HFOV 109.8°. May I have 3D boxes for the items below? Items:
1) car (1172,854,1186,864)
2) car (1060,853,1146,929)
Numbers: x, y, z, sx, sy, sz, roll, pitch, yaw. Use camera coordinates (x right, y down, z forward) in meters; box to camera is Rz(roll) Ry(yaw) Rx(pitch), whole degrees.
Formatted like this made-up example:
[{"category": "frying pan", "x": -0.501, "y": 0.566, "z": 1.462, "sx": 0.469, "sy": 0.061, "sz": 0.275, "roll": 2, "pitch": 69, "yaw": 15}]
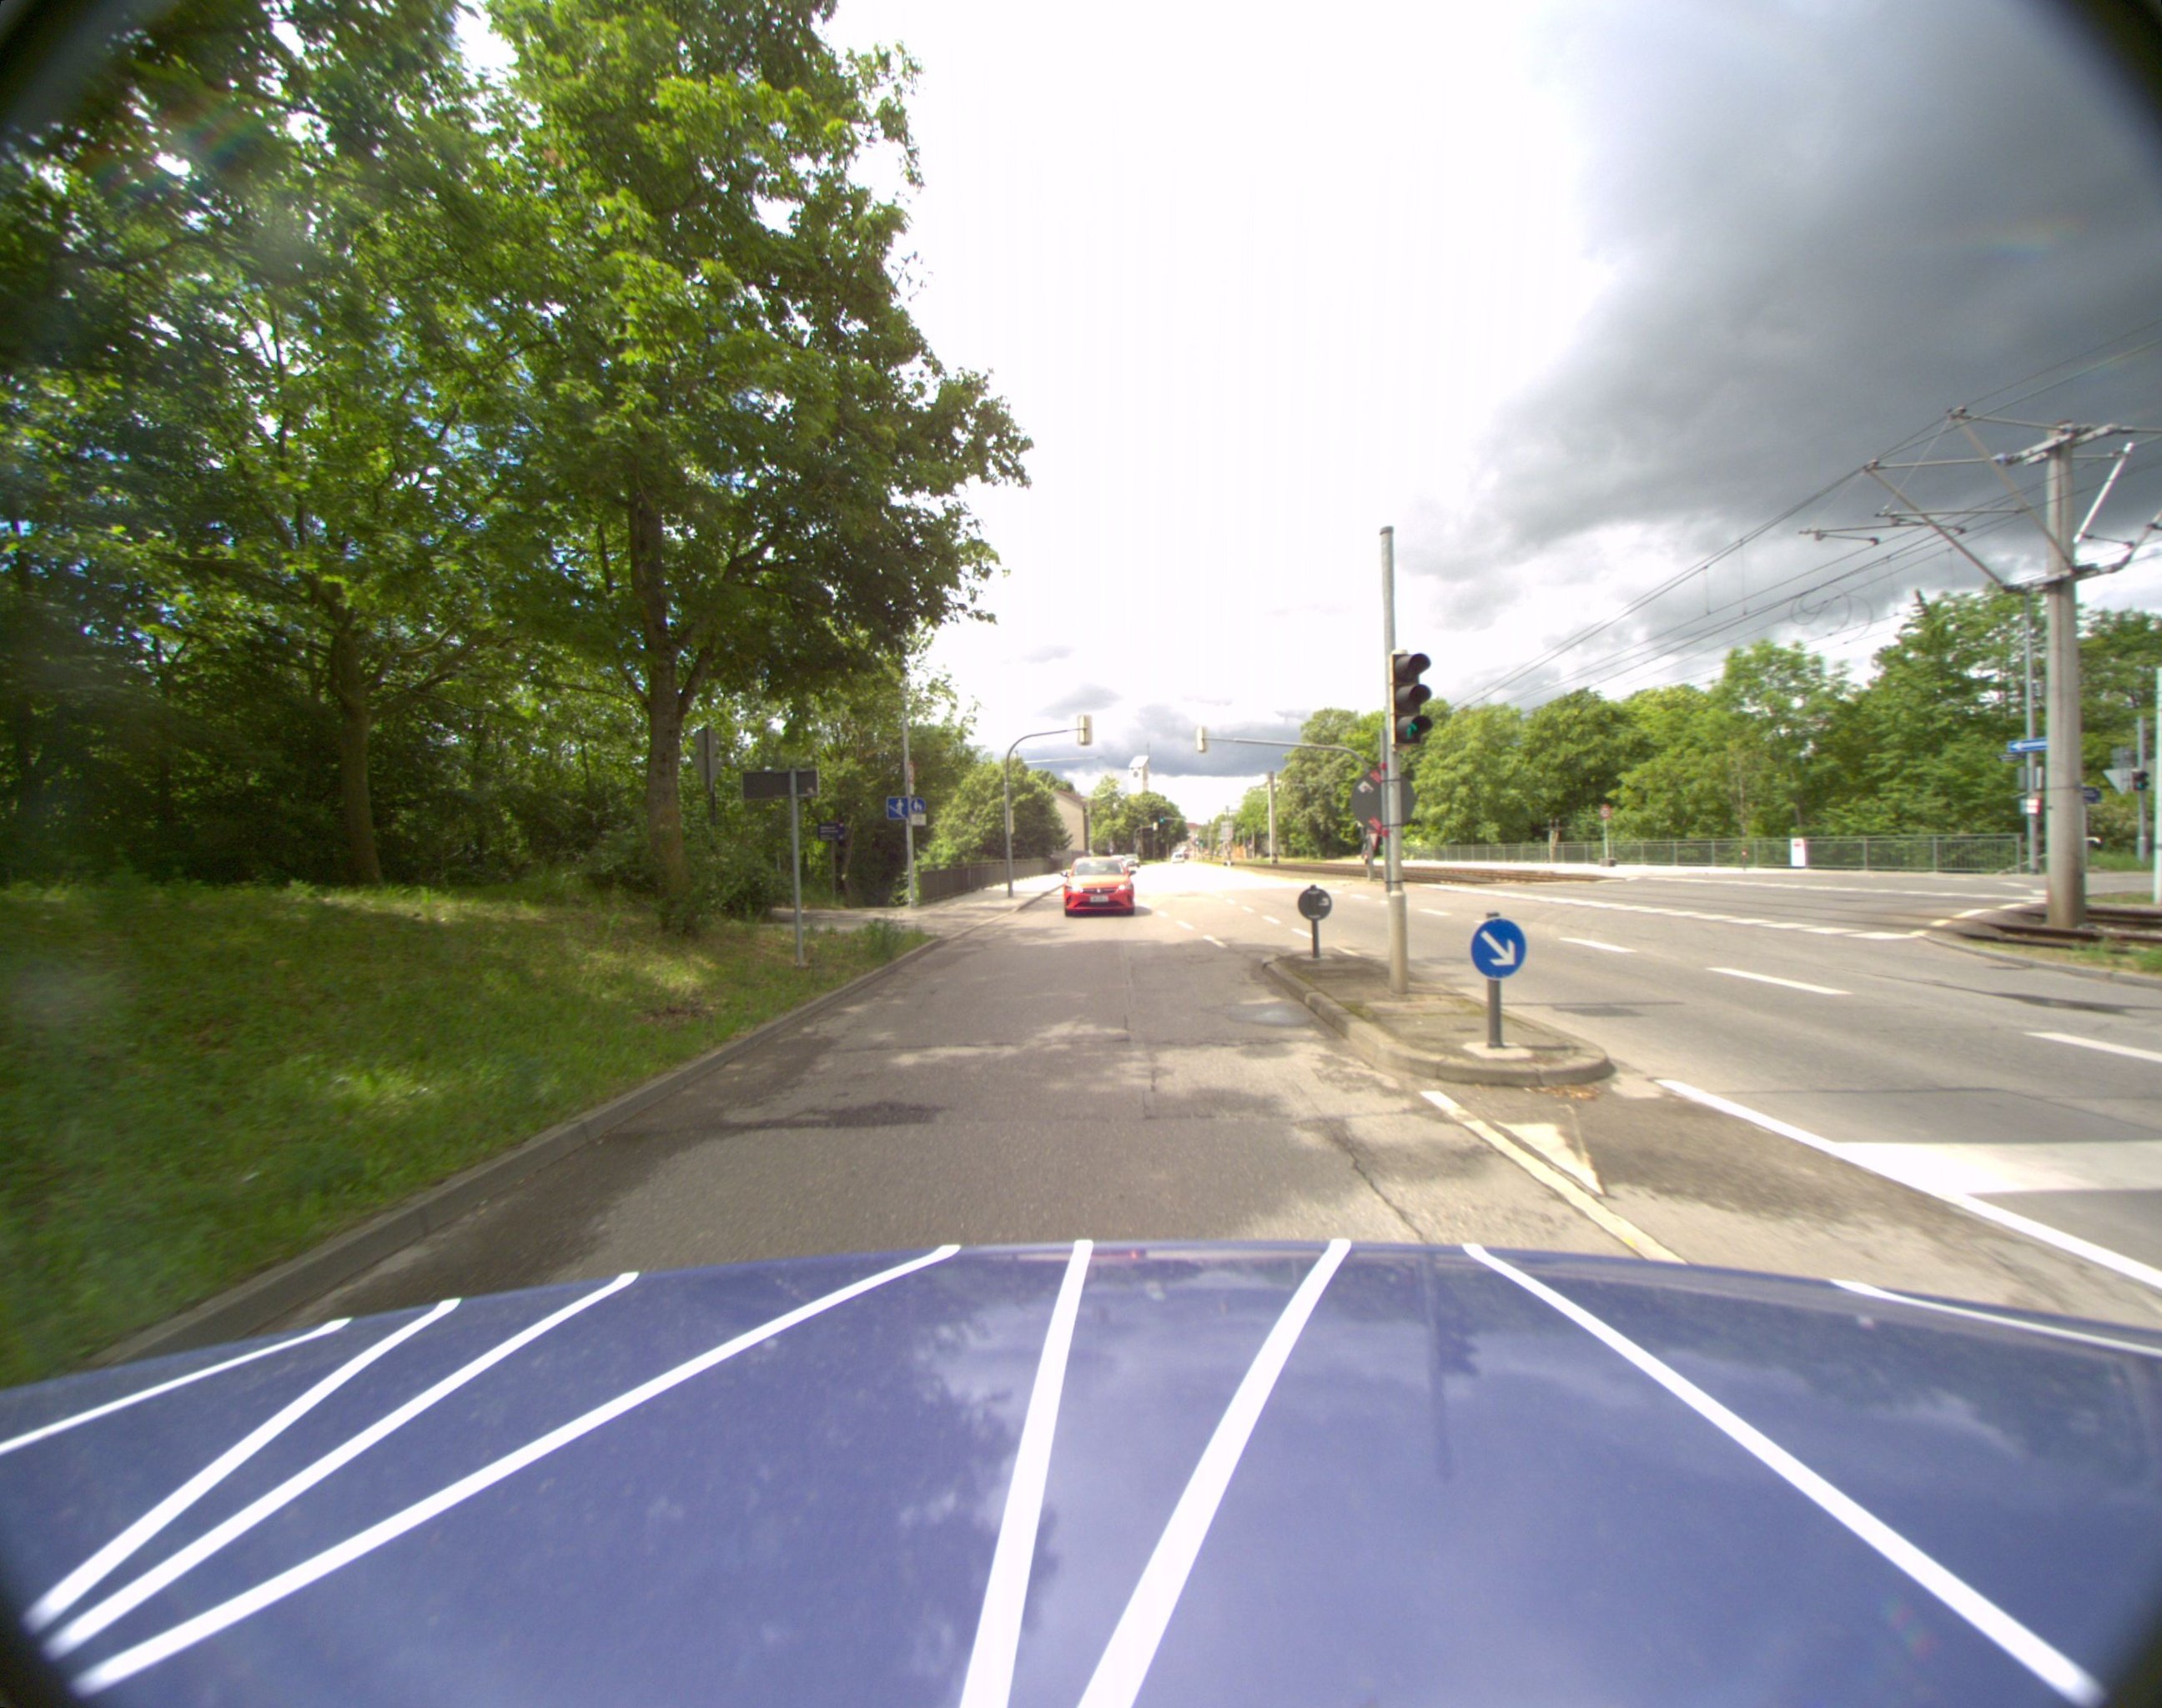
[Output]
[{"category": "car", "x": 14.155, "y": 0.703, "z": 109.821, "sx": 1.789, "sy": 1.340, "sz": 4.853, "roll": -2, "pitch": 1, "yaw": 5}, {"category": "car", "x": 0.497, "y": 0.799, "z": 18.763, "sx": 1.790, "sy": 1.453, "sz": 4.851, "roll": -2, "pitch": 1, "yaw": 1}]
